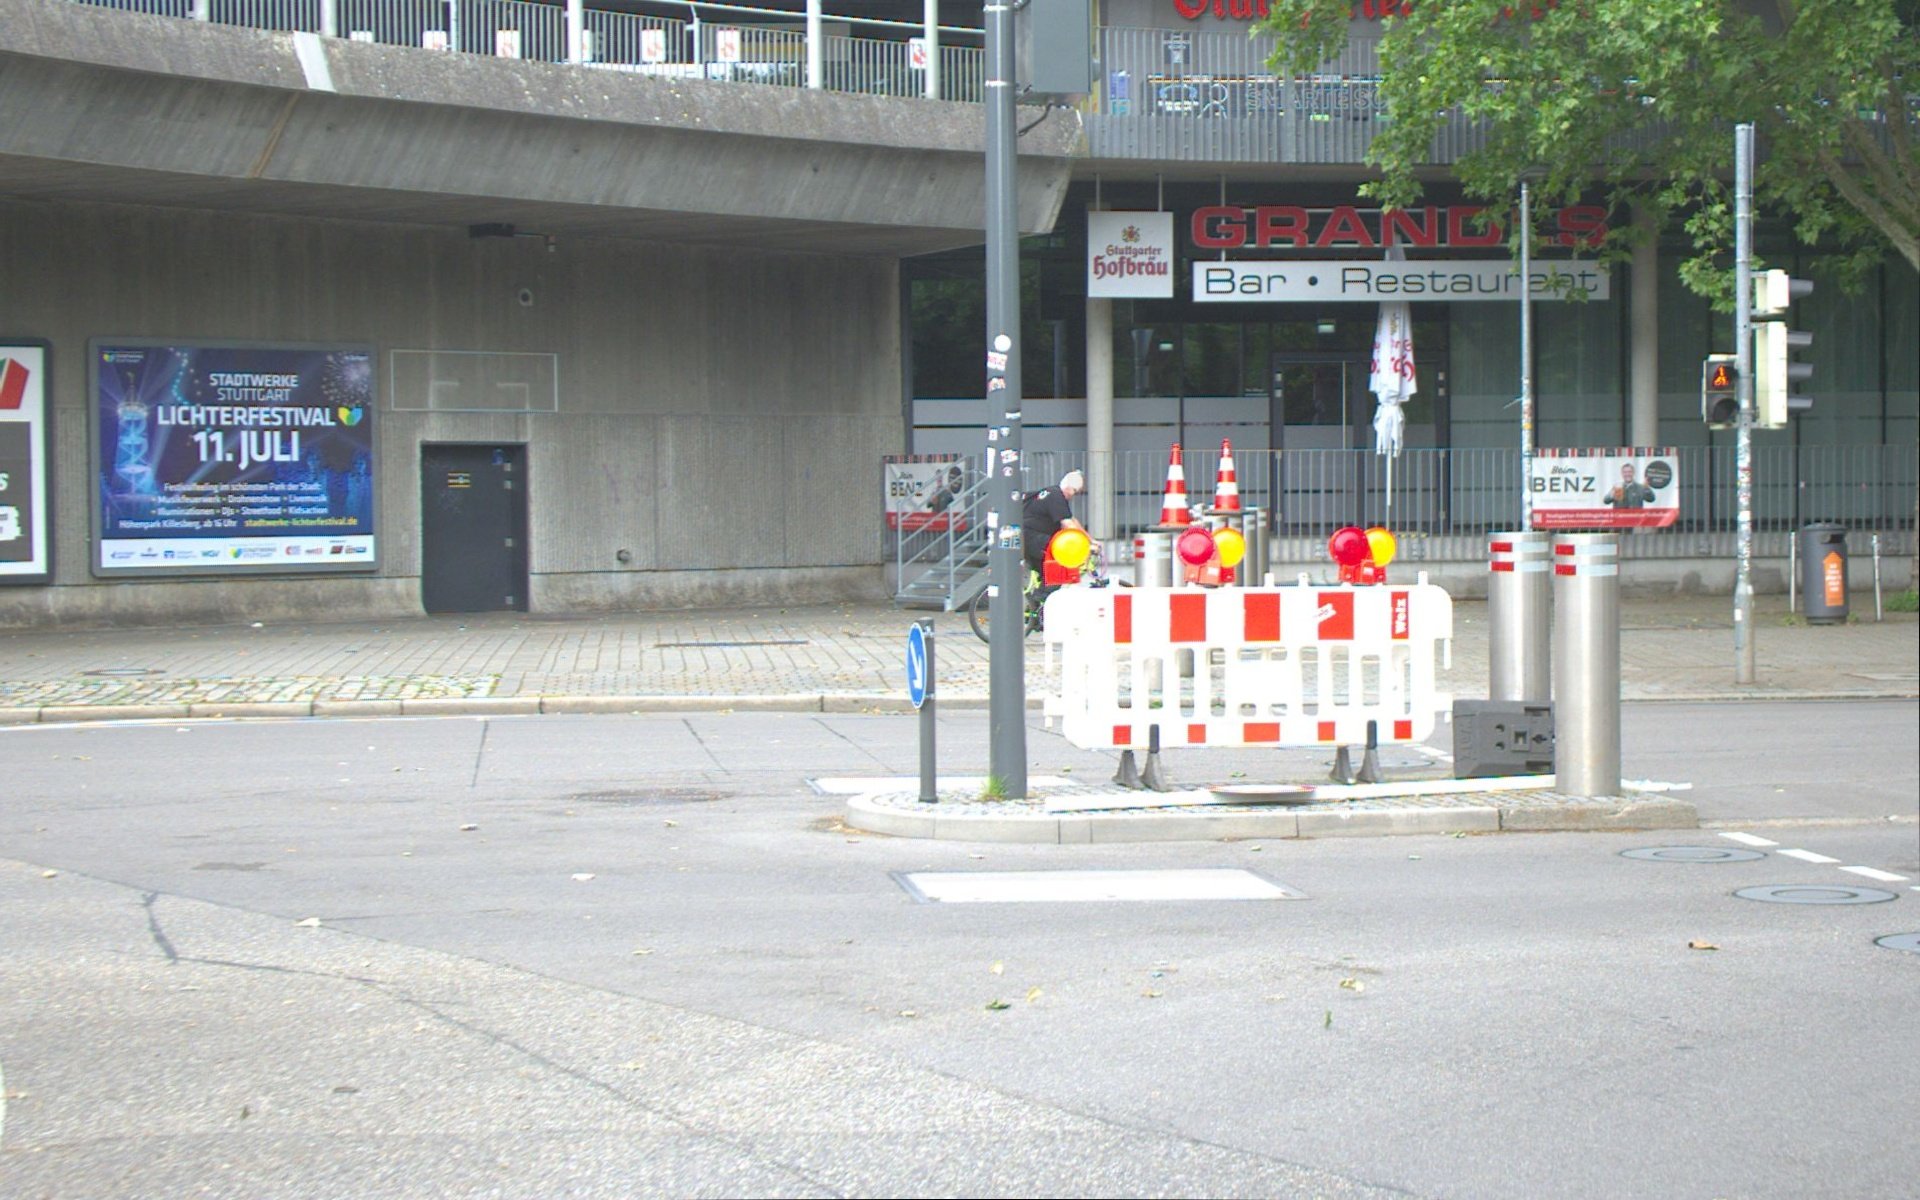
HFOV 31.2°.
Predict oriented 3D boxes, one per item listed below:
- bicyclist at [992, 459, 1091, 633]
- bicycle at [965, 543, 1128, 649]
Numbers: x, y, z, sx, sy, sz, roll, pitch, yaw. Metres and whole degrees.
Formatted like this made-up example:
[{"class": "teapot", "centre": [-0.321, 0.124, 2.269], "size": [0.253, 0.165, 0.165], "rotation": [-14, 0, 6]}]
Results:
[{"class": "bicyclist", "centre": [0.802, -0.533, 34.025], "size": [0.851, 1.692, 0.767], "rotation": [1, 1, -7]}, {"class": "bicycle", "centre": [0.855, -0.043, 34.029], "size": [1.532, 1.009, 0.517], "rotation": [1, 1, -7]}]
